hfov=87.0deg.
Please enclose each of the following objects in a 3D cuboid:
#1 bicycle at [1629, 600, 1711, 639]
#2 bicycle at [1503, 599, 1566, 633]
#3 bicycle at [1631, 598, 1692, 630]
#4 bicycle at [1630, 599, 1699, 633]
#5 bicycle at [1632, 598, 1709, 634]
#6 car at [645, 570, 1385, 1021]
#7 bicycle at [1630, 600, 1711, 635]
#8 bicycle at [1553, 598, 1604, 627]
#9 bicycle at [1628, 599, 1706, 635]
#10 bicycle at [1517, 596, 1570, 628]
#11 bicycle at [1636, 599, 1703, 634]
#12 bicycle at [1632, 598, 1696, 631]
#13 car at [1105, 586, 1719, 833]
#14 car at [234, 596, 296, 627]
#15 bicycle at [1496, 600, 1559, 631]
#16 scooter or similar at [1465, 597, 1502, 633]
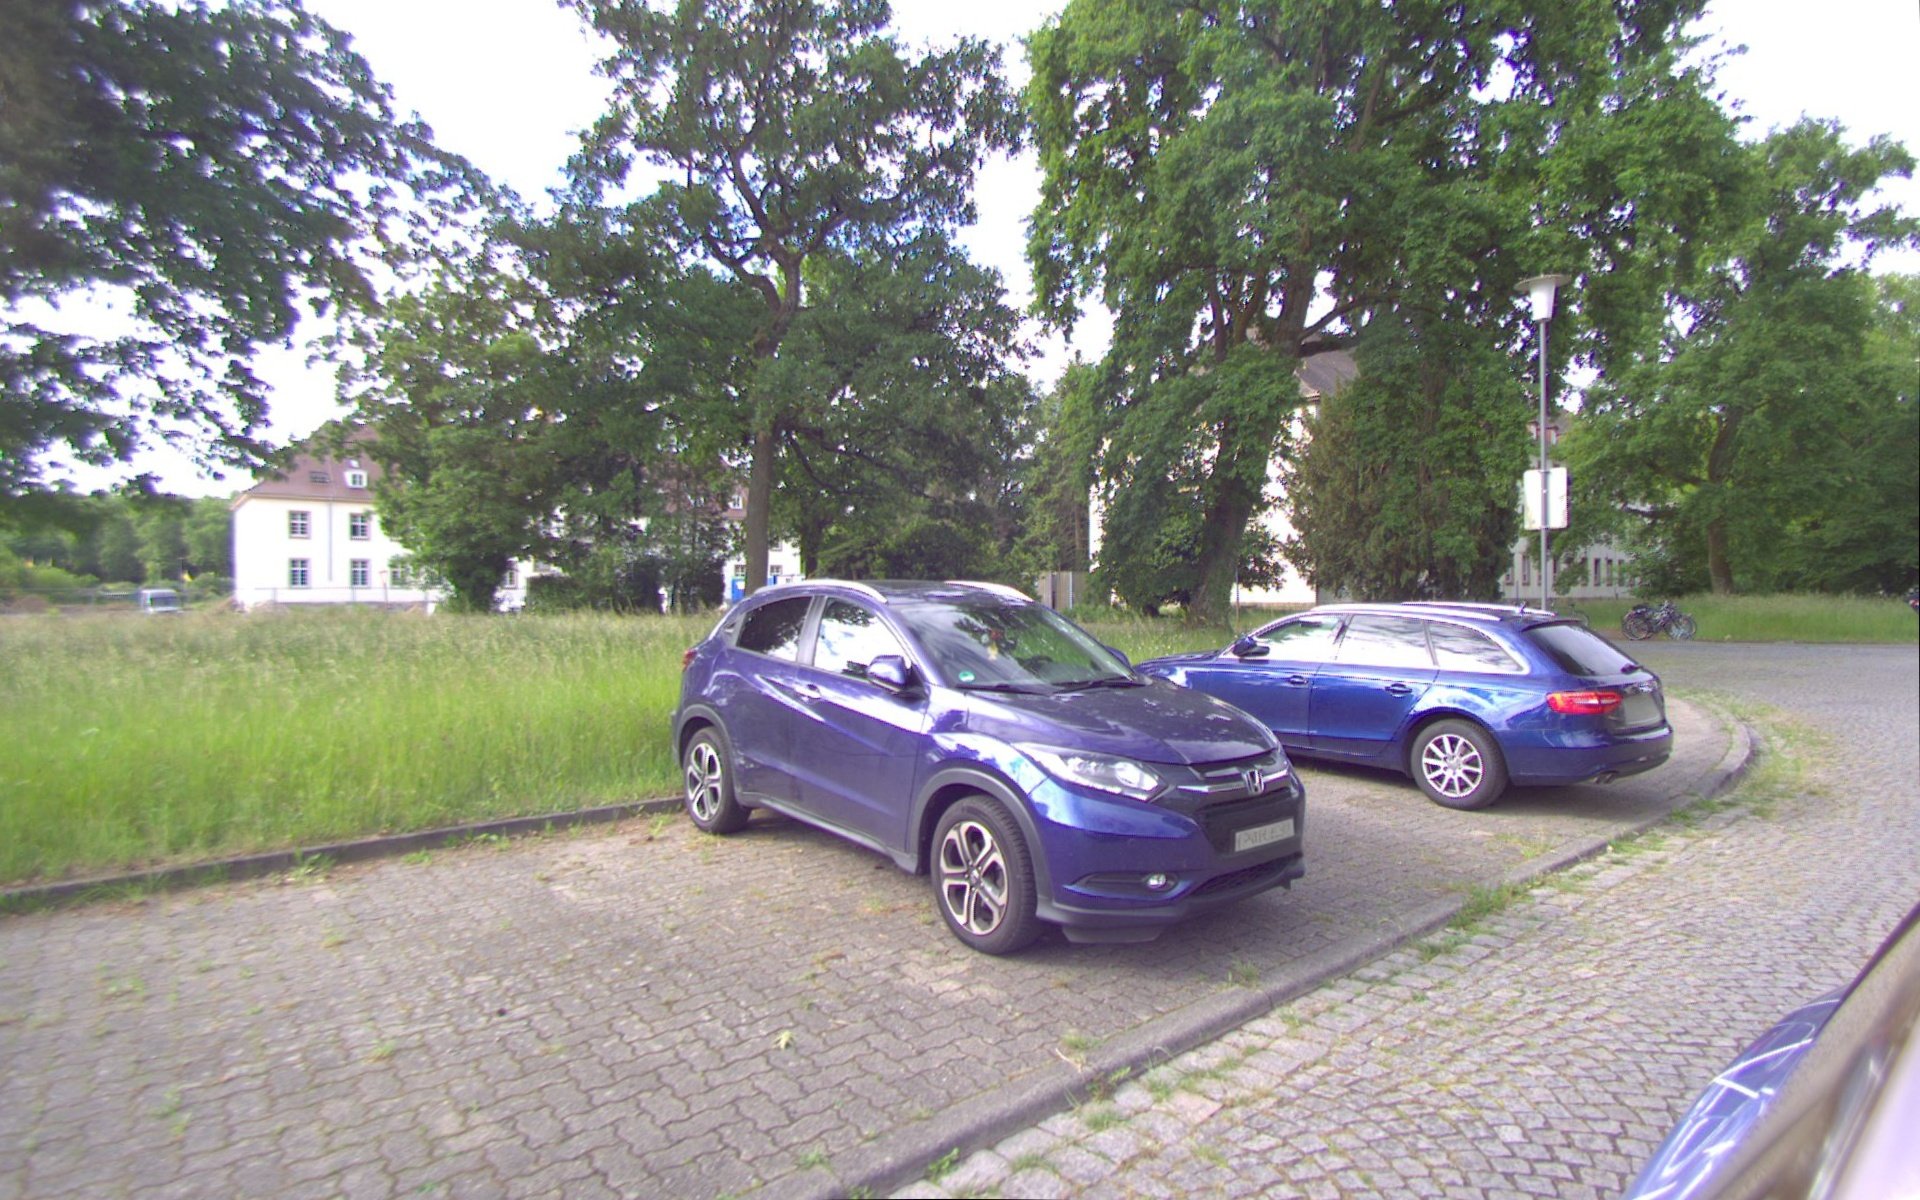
[{"bbox_3d":[21.608,0.582,30.848,2.000,1.101,0.474,0,2,29],"label":"bicycle"},{"bbox_3d":[19.334,0.527,34.075,1.793,1.101,0.475,0,2,24],"label":"bicycle"},{"bbox_3d":[25.117,0.483,36.285,1.735,1.101,0.548,0,2,29],"label":"bicycle"},{"bbox_3d":[23.679,0.522,34.056,1.849,1.101,0.515,0,2,29],"label":"bicycle"},{"bbox_3d":[22.902,0.506,32.661,2.000,1.101,0.474,0,2,29],"label":"bicycle"},{"bbox_3d":[-0.070,0.641,5.831,1.861,1.593,4.272,0,1,-40],"label":"car"},{"bbox_3d":[21.898,0.541,31.236,2.000,1.022,0.474,0,2,29],"label":"bicycle"},{"bbox_3d":[22.696,0.446,37.170,1.550,1.047,0.472,0,0,27],"label":"bicycle"},{"bbox_3d":[22.466,0.530,32.205,2.000,1.101,0.474,0,2,29],"label":"bicycle"},{"bbox_3d":[20.661,0.421,35.841,1.546,1.102,0.558,0,0,20],"label":"bicycle"},{"bbox_3d":[23.352,0.535,33.335,1.773,1.101,0.474,0,2,29],"label":"bicycle"},{"bbox_3d":[24.752,0.494,35.603,1.792,1.101,0.548,0,2,29],"label":"bicycle"},{"bbox_3d":[3.512,0.661,8.737,1.860,1.483,4.519,0,1,-36],"label":"car"},{"bbox_3d":[-49.785,0.851,72.491,5.814,2.039,2.449,-2,0,43],"label":"car"},{"bbox_3d":[19.404,0.523,34.653,1.836,1.002,0.452,0,0,24],"label":"bicycle"},{"bbox_3d":[17.909,0.511,34.614,0.378,1.210,1.063,0,0,-37],"label":"scooter or similar"}]
